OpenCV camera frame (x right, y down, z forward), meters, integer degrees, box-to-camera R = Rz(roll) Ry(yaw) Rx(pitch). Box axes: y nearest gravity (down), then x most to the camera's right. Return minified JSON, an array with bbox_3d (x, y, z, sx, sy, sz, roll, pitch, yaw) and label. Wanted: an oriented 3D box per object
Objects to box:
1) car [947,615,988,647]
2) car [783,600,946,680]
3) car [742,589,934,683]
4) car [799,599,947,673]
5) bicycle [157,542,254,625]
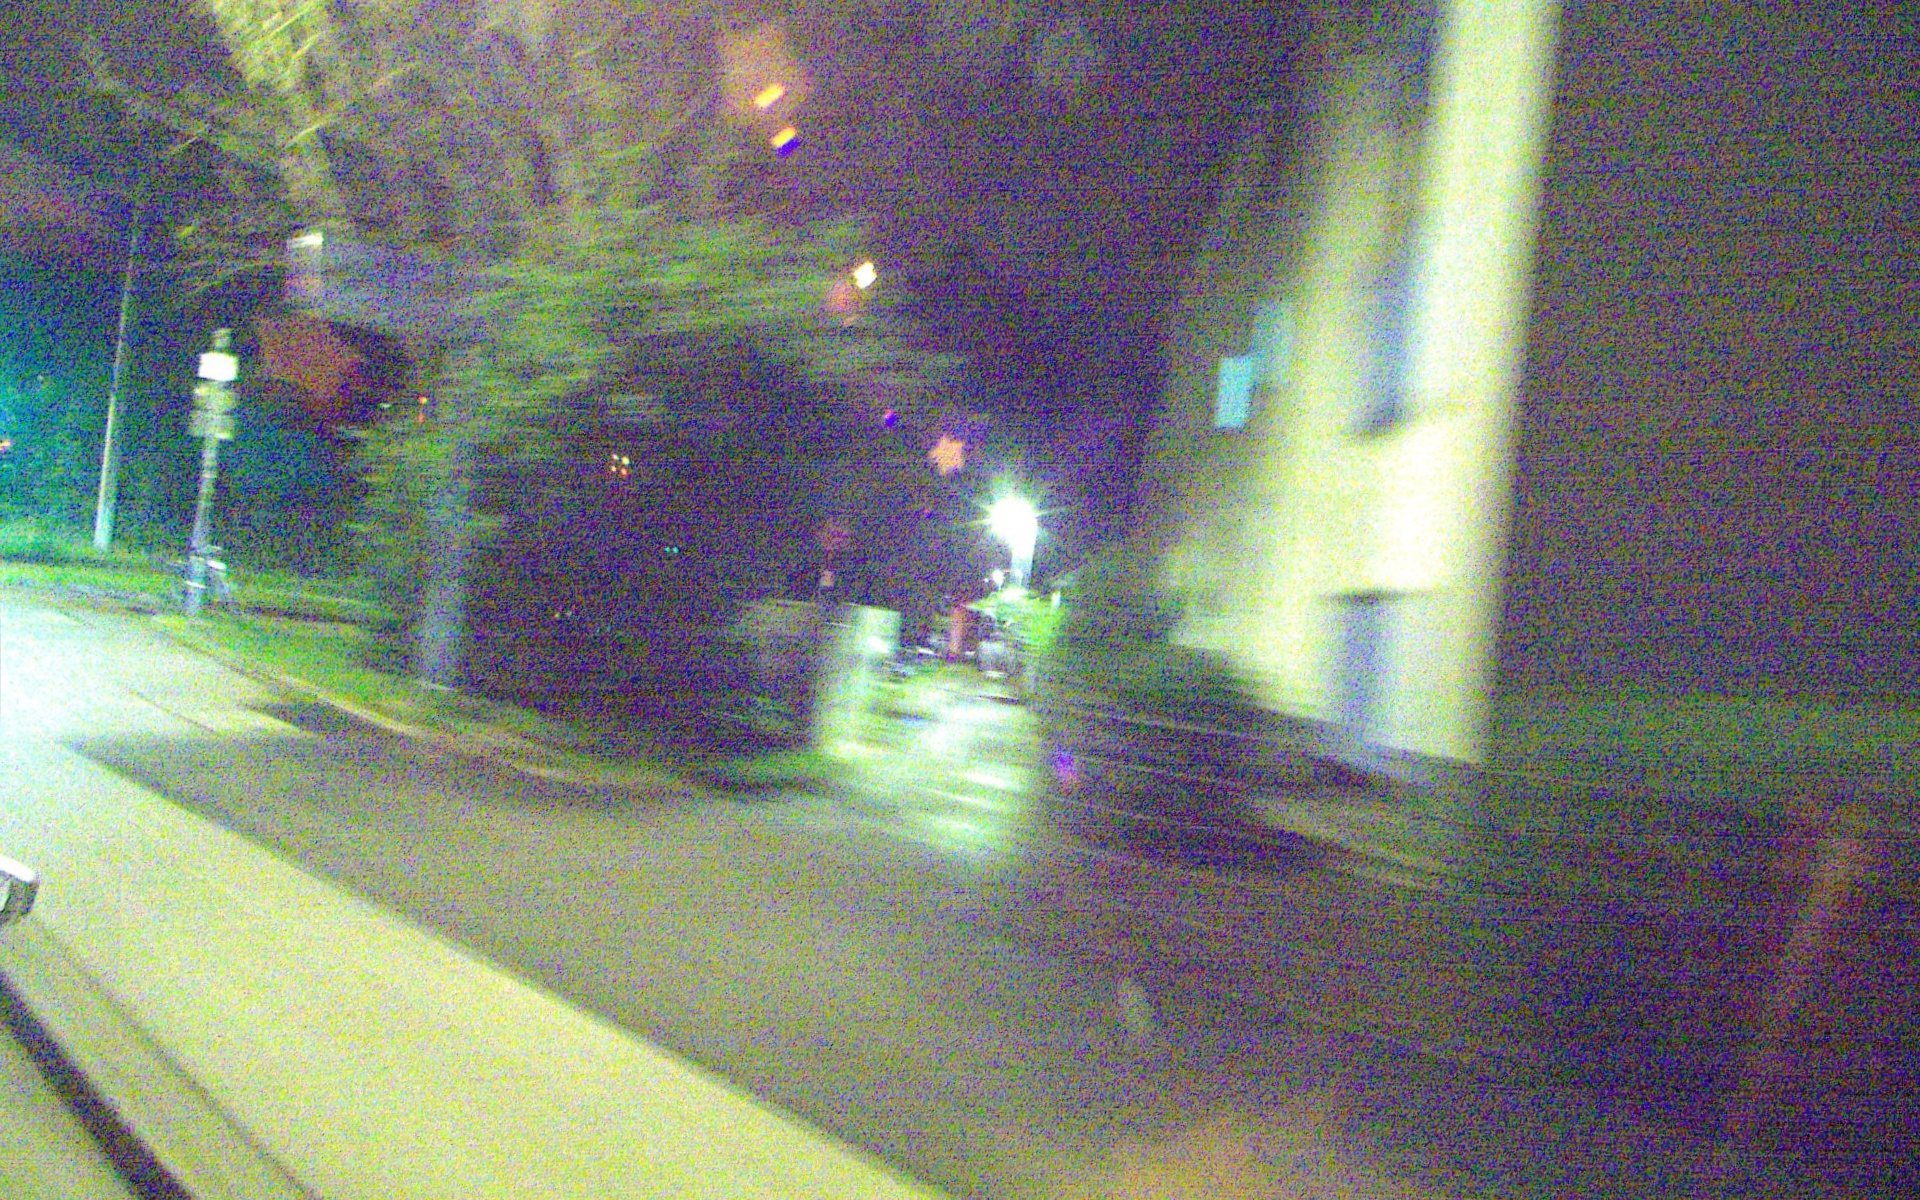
[{"bbox_3d":[0.451,1.829,59.033,1.729,1.563,3.873,7,-1,8],"label":"car"},{"bbox_3d":[-2.434,1.039,26.266,3.796,1.533,1.764,7,-1,7],"label":"car"},{"bbox_3d":[-2.834,0.848,23.822,4.020,1.634,1.815,7,-1,7],"label":"car"},{"bbox_3d":[-2.459,1.028,28.934,3.796,1.563,1.763,7,0,7],"label":"car"},{"bbox_3d":[-9.891,-0.226,13.164,1.913,0.994,0.295,3,-1,32],"label":"bicycle"}]
